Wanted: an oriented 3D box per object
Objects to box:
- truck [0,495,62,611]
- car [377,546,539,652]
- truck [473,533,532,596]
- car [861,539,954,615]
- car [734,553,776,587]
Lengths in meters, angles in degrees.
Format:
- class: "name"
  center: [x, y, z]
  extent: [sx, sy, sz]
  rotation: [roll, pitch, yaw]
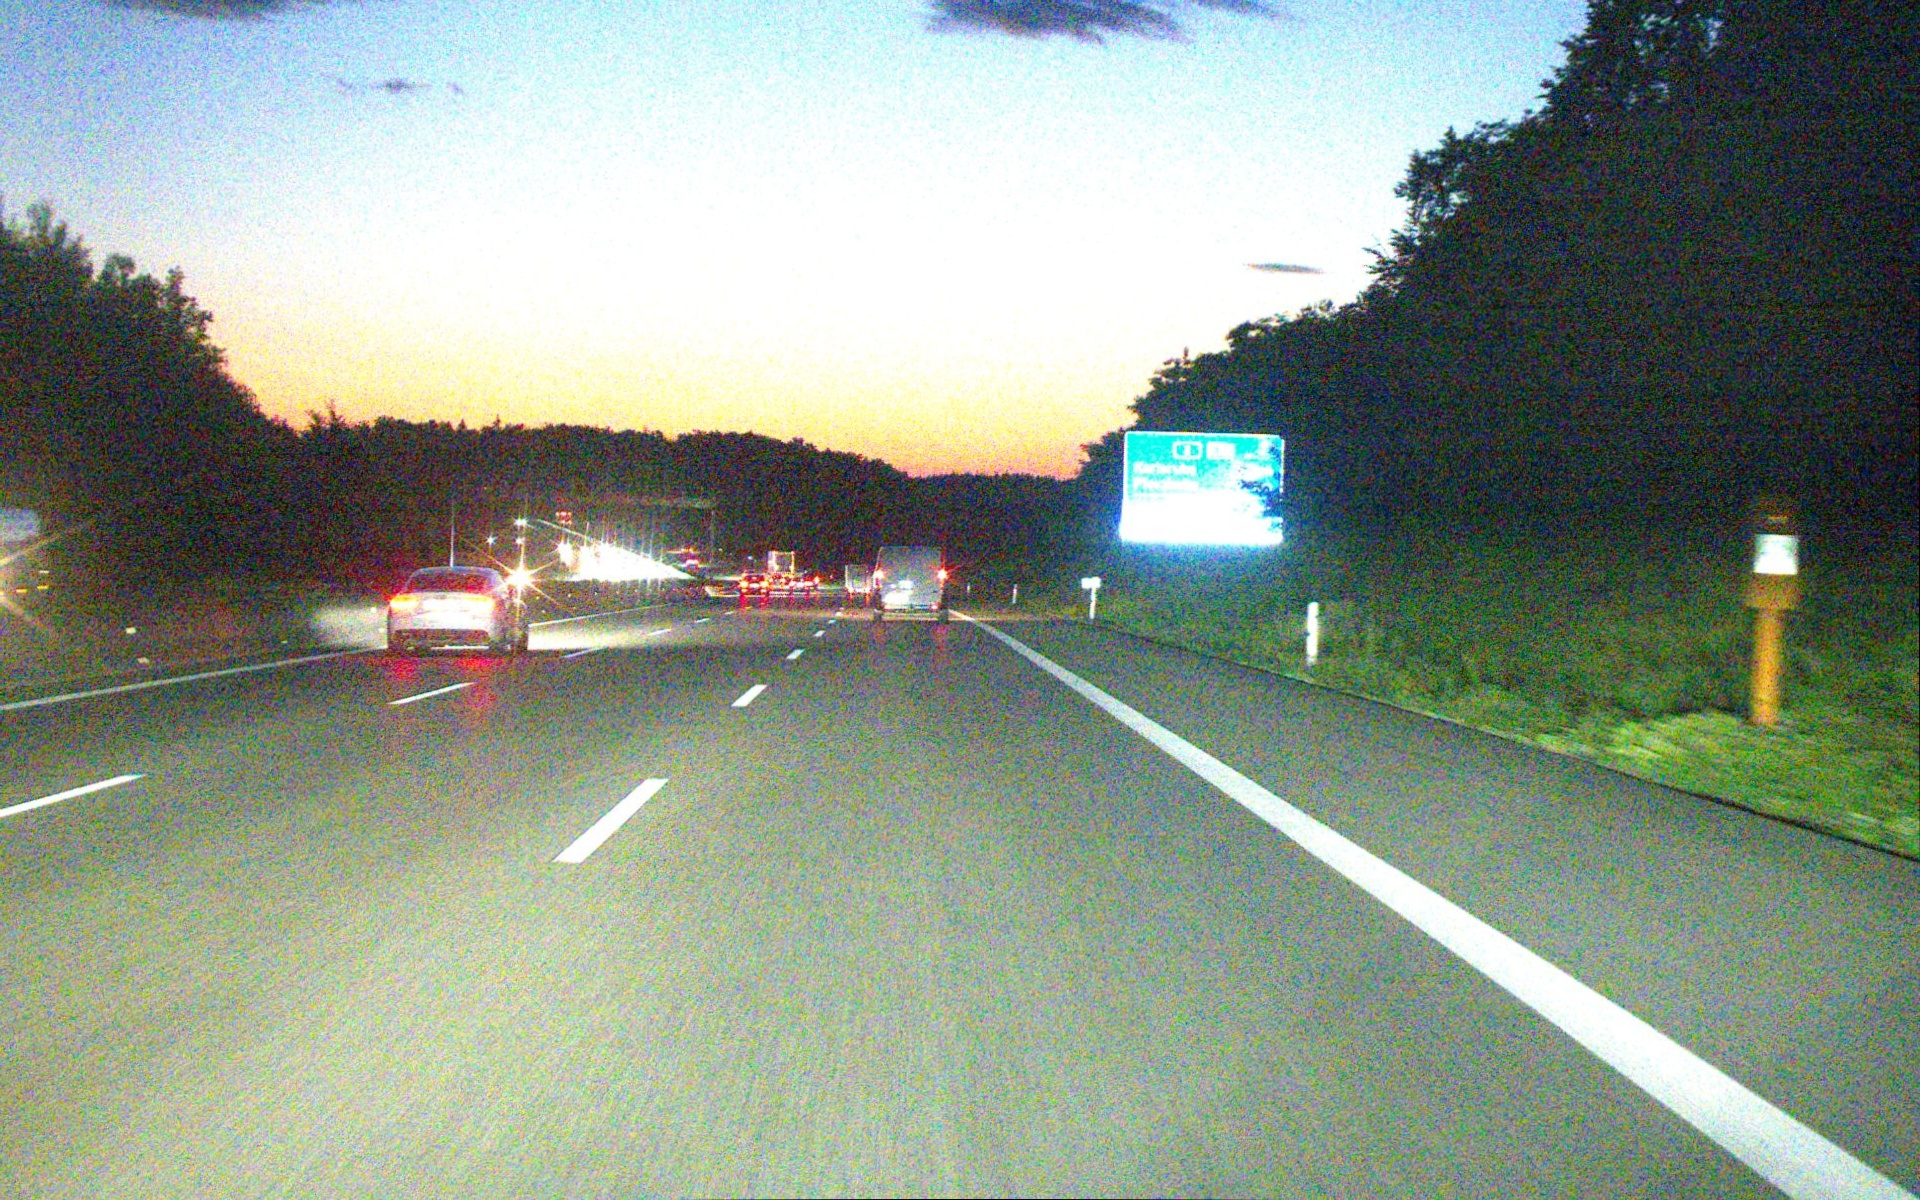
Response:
- class: "truck"
  center: [-23.701, -1.179, 82.568]
  extent: [2.196, 2.716, 7.625]
  rotation: [3, 1, -1]
- class: "car"
  center: [-7.923, -0.058, 54.702]
  extent: [1.779, 1.482, 5.254]
  rotation: [3, 1, -1]
- class: "truck"
  center: [-28.626, -2.219, 215.362]
  extent: [2.519, 3.838, 9.065]
  rotation: [1, 0, -1]
- class: "car"
  center: [-1.369, -0.631, 91.163]
  extent: [2.197, 1.948, 4.763]
  rotation: [0, 1, 2]
- class: "car"
  center: [-12.557, -1.857, 210.799]
  extent: [2.196, 1.948, 4.634]
  rotation: [3, 1, -1]
